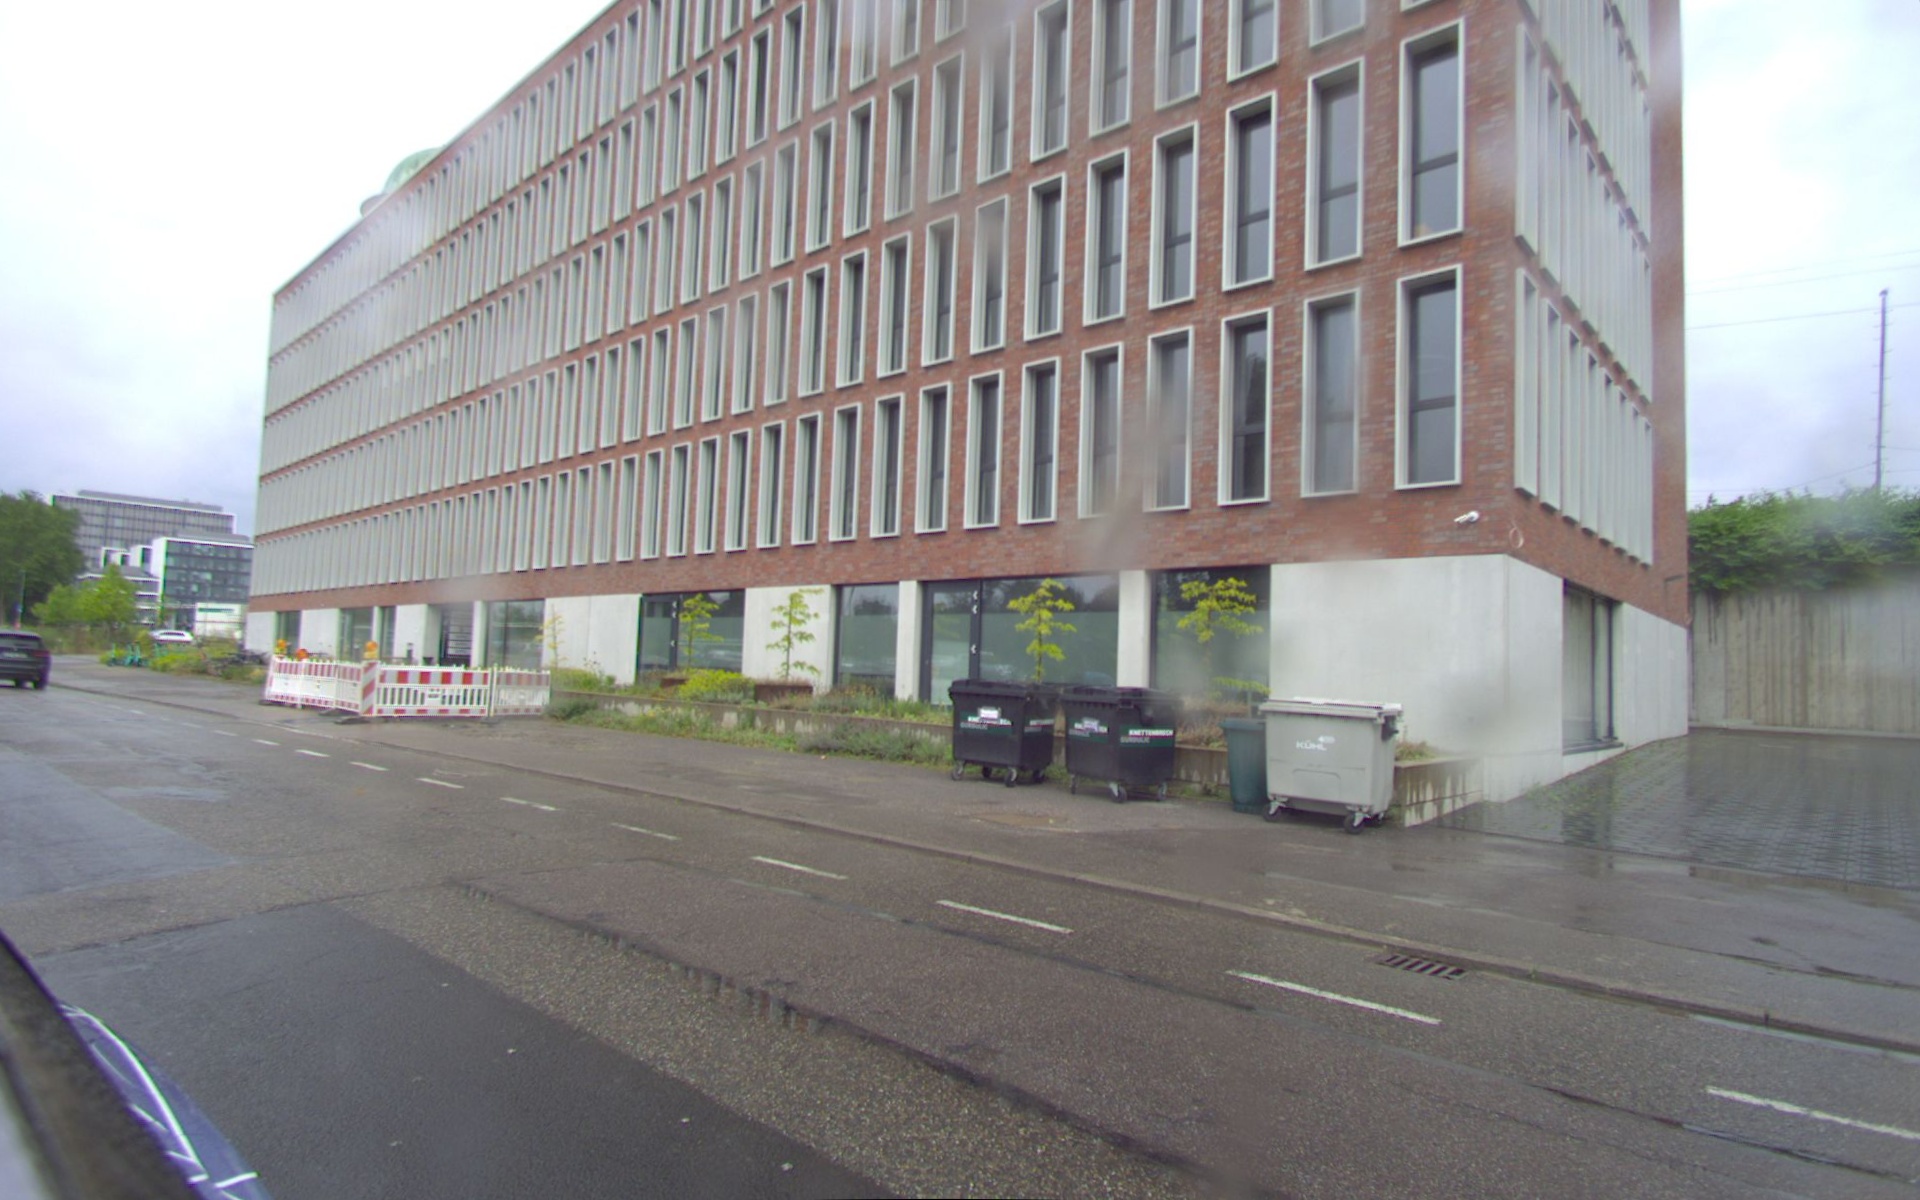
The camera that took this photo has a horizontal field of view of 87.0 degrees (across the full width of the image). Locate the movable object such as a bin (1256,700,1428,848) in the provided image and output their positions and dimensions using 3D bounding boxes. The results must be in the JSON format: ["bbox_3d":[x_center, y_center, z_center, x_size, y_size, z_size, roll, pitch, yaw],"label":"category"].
[{"bbox_3d":[4.017,1.759,10.612,1.357,1.342,1.283,-1,-6,39],"label":"movable object such as a bin"}]

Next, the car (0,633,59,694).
[{"bbox_3d":[-27.146,1.721,28.344,4.139,1.580,1.745,0,-7,34],"label":"car"}]

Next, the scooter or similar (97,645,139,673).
[{"bbox_3d":[-39.447,2.762,47.422,1.298,1.239,0.469,5,-5,-20],"label":"scooter or similar"}]

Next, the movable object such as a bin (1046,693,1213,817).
[{"bbox_3d":[2.022,1.822,12.204,1.355,1.318,1.453,4,-5,-28],"label":"movable object such as a bin"}]

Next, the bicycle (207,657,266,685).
[{"bbox_3d":[-29.516,2.905,41.301,0.544,1.085,1.841,-1,-4,39],"label":"bicycle"}]

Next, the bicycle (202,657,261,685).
[{"bbox_3d":[-29.992,2.928,41.694,0.544,1.085,1.841,-1,-4,39],"label":"bicycle"}]

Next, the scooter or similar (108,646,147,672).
[{"bbox_3d":[-41.379,2.927,50.289,1.299,1.239,0.509,4,-5,-11],"label":"scooter or similar"}]

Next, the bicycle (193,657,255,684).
[{"bbox_3d":[-30.646,2.927,42.170,0.620,1.085,1.929,-1,-4,39],"label":"bicycle"}]

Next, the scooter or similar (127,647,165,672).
[{"bbox_3d":[-40.221,2.947,50.008,1.301,1.186,0.468,8,-7,-44],"label":"scooter or similar"}]

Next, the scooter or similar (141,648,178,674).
[{"bbox_3d":[-39.512,3.020,49.975,1.301,1.186,0.468,8,-7,-44],"label":"scooter or similar"}]

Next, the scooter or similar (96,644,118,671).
[{"bbox_3d":[-41.430,2.783,49.159,1.319,1.239,0.461,-1,-6,38],"label":"scooter or similar"}]

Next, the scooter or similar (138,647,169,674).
[{"bbox_3d":[-38.154,2.862,47.894,0.460,1.239,1.210,3,-5,-7],"label":"scooter or similar"}]

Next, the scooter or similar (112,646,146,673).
[{"bbox_3d":[-40.046,2.857,48.768,1.307,1.239,0.465,2,-5,12],"label":"scooter or similar"}]

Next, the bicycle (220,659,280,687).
[{"bbox_3d":[-28.207,2.905,40.233,0.544,1.085,1.841,-1,-4,39],"label":"bicycle"}]

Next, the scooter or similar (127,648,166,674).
[{"bbox_3d":[-39.023,2.925,48.546,0.465,1.186,1.308,0,-6,28],"label":"scooter or similar"}]

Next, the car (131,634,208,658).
[{"bbox_3d":[-63.593,3.705,81.476,1.997,1.653,4.478,0,-5,37],"label":"car"}]

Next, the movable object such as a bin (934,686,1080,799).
[{"bbox_3d":[0.629,1.835,13.331,1.445,1.318,1.285,-1,-5,34],"label":"movable object such as a bin"}]

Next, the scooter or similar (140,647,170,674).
[{"bbox_3d":[-37.676,2.852,47.372,0.460,1.217,1.210,3,-5,-7],"label":"scooter or similar"}]

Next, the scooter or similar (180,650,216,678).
[{"bbox_3d":[-35.534,2.979,47.186,1.211,1.217,0.418,7,-7,-42],"label":"scooter or similar"}]

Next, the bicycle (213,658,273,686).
[{"bbox_3d":[-28.868,2.903,40.772,0.544,1.085,1.841,-1,-4,39],"label":"bicycle"}]
